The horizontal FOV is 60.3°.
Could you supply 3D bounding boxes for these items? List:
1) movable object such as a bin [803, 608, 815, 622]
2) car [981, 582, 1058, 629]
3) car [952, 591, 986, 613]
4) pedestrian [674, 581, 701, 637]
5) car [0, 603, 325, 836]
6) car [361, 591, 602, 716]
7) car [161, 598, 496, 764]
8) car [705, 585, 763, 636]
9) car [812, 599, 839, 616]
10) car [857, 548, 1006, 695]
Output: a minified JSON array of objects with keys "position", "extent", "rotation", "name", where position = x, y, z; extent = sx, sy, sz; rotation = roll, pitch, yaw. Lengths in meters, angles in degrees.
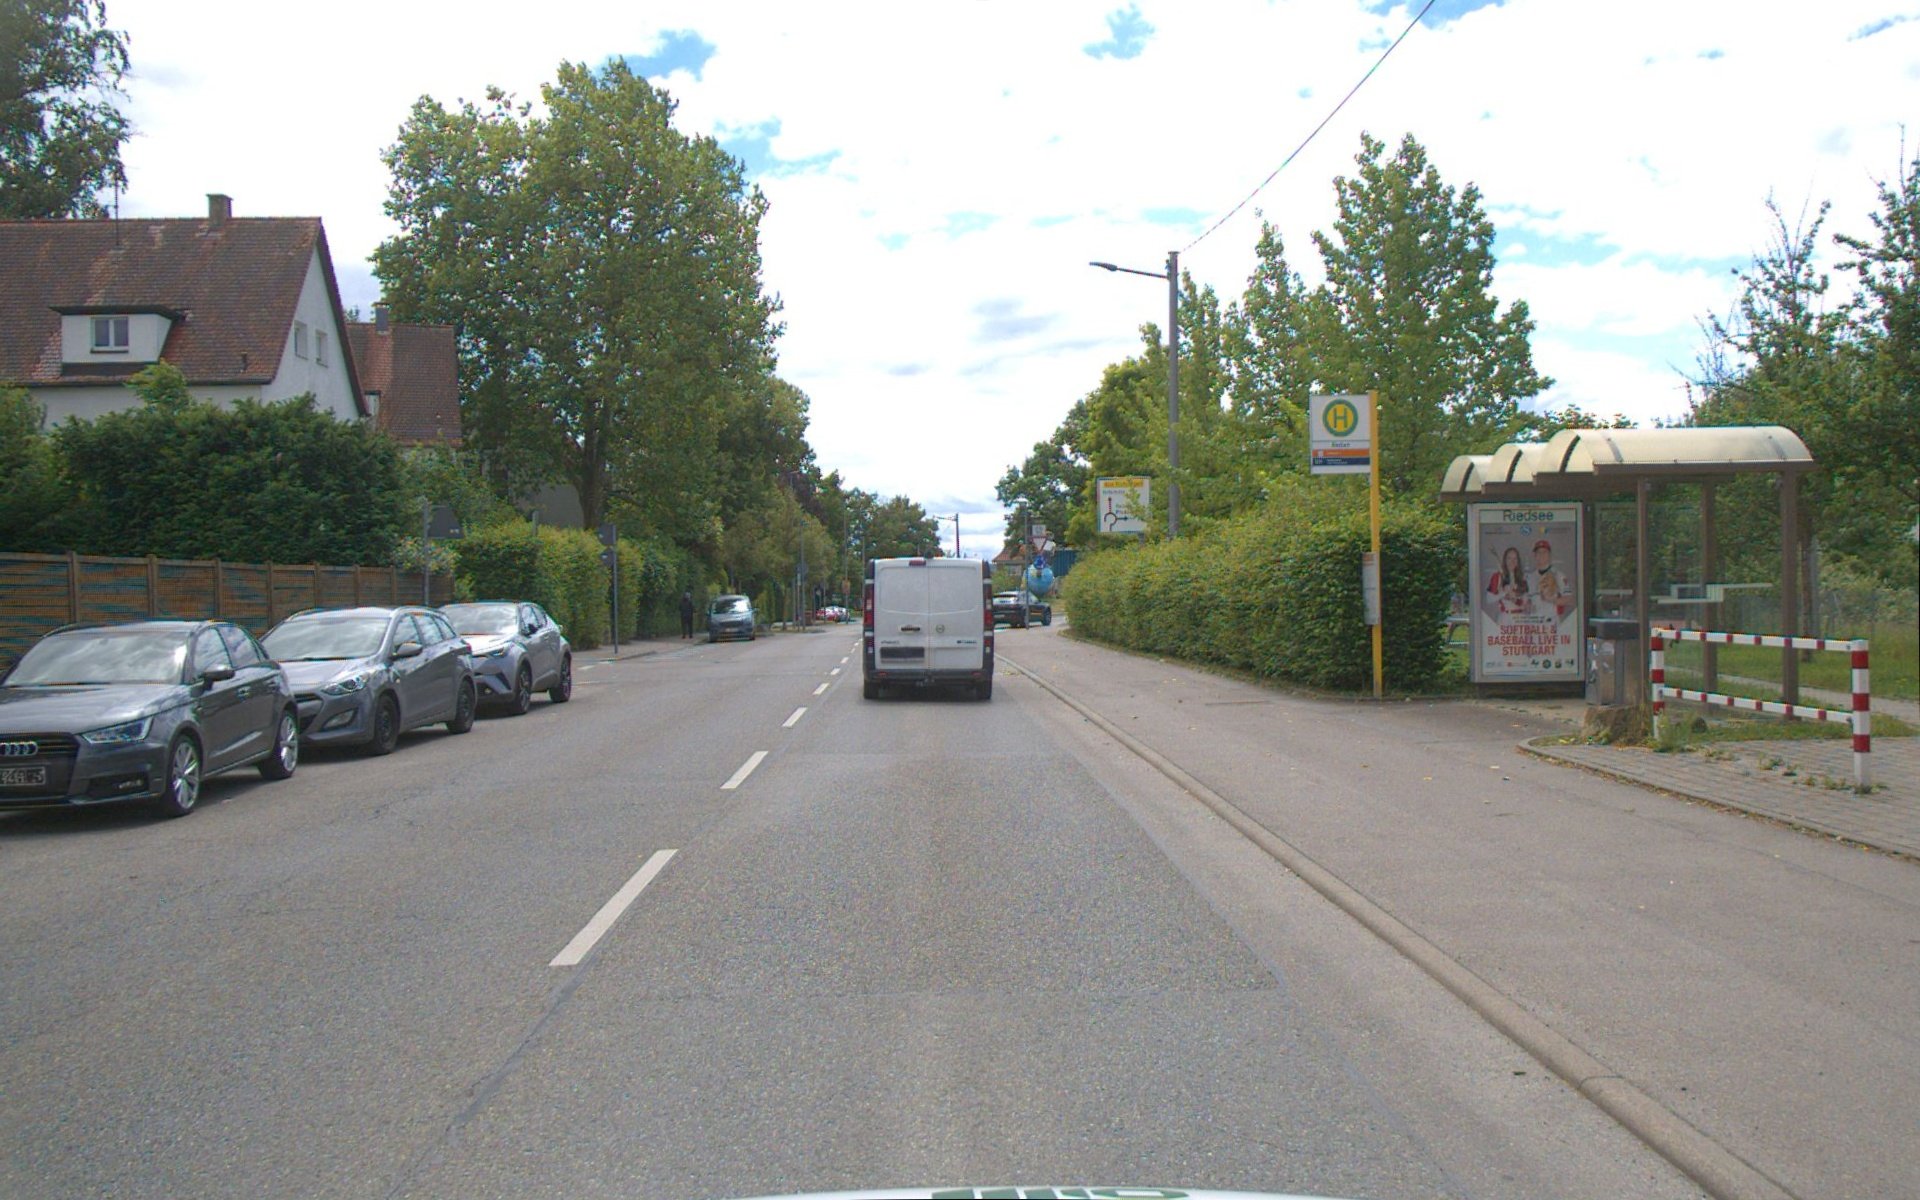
[{"position":[-9.541,0.948,104.579],"extent":[0.616,0.878,0.641],"rotation":[-3,0,9],"name":"movable object such as a bin"},{"position":[2.727,0.219,75.184],"extent":[1.956,2.049,3.994],"rotation":[1,1,29],"name":"car"},{"position":[0.669,0.136,126.110],"extent":[1.898,1.564,3.915],"rotation":[-1,1,-11],"name":"car"},{"position":[-10.339,0.344,62.722],"extent":[0.855,2.048,1.039],"rotation":[-3,0,-6],"name":"pedestrian"},{"position":[-6.508,0.830,13.201],"extent":[1.619,1.452,3.902],"rotation":[-3,1,-5],"name":"car"},{"position":[-6.667,0.679,23.642],"extent":[1.952,1.505,4.648],"rotation":[-3,1,1],"name":"car"},{"position":[-6.583,0.761,17.837],"extent":[1.829,1.484,4.489],"rotation":[-1,1,0],"name":"car"},{"position":[-8.553,0.361,62.421],"extent":[2.092,1.803,4.456],"rotation":[0,1,-9],"name":"car"},{"position":[-12.337,0.690,151.841],"extent":[2.026,1.410,4.037],"rotation":[-2,1,-11],"name":"car"},{"position":[-0.464,0.257,24.765],"extent":[1.993,1.979,4.992],"rotation":[0,1,-2],"name":"car"}]
